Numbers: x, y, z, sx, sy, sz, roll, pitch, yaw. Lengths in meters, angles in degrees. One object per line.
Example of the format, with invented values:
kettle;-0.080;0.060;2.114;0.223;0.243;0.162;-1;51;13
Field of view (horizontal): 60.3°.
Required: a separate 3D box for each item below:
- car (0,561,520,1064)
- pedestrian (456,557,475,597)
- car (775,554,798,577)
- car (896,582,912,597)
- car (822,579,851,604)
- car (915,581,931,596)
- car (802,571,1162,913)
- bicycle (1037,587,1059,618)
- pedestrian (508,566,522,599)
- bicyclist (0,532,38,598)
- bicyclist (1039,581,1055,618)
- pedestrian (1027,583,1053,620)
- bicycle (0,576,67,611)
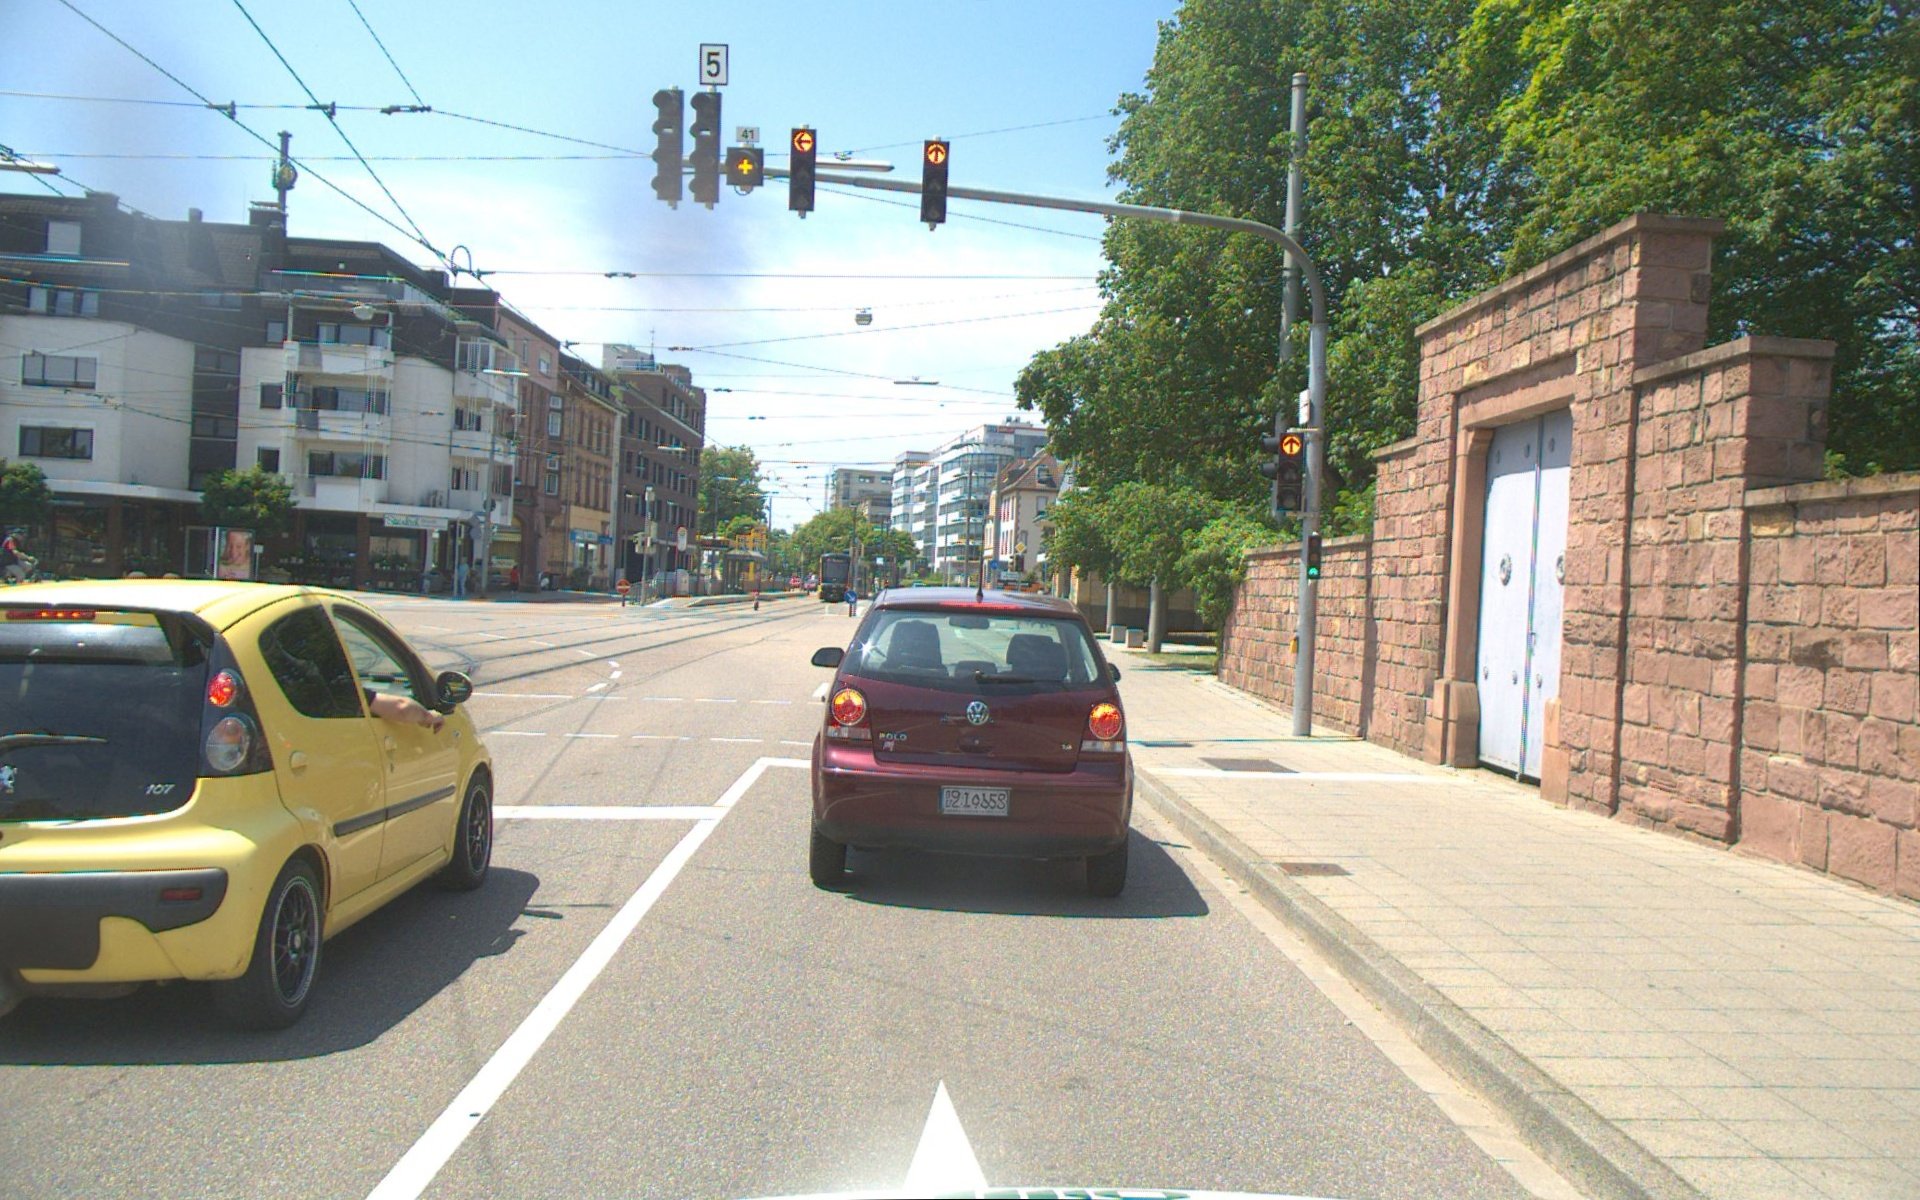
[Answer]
car;-2.973;0.590;6.468;1.688;1.470;3.292;1;1;-2
pedestrian;-22.433;-1.055;75.003;0.497;1.785;0.606;0;-1;45
car;-16.275;-3.261;155.477;1.700;2.048;3.999;2;0;-1
car;-6.244;-1.158;183.769;1.744;1.651;3.997;1;0;-3
car;-8.813;-0.589;118.283;1.899;1.670;3.999;1;0;-1
car;-3.653;-1.089;161.946;1.540;1.440;3.719;0;0;-1
car;0.043;0.630;9.571;1.577;1.489;4.084;3;0;-2
bicycle;4.470;0.134;83.837;0.818;1.552;3.999;1;0;-1
pedestrian;-21.349;-0.830;79.339;0.473;1.568;0.538;1;-1;0
bicyclist;-22.309;-0.821;39.165;0.739;1.527;0.478;1;-1;-22
bicyclist;4.417;-0.014;83.816;0.707;1.850;0.888;1;-1;-1
pedestrian;3.765;0.055;77.746;0.964;1.690;0.917;2;0;-11
bicycle;-22.294;-0.150;39.161;1.953;0.797;0.463;1;-1;-23
